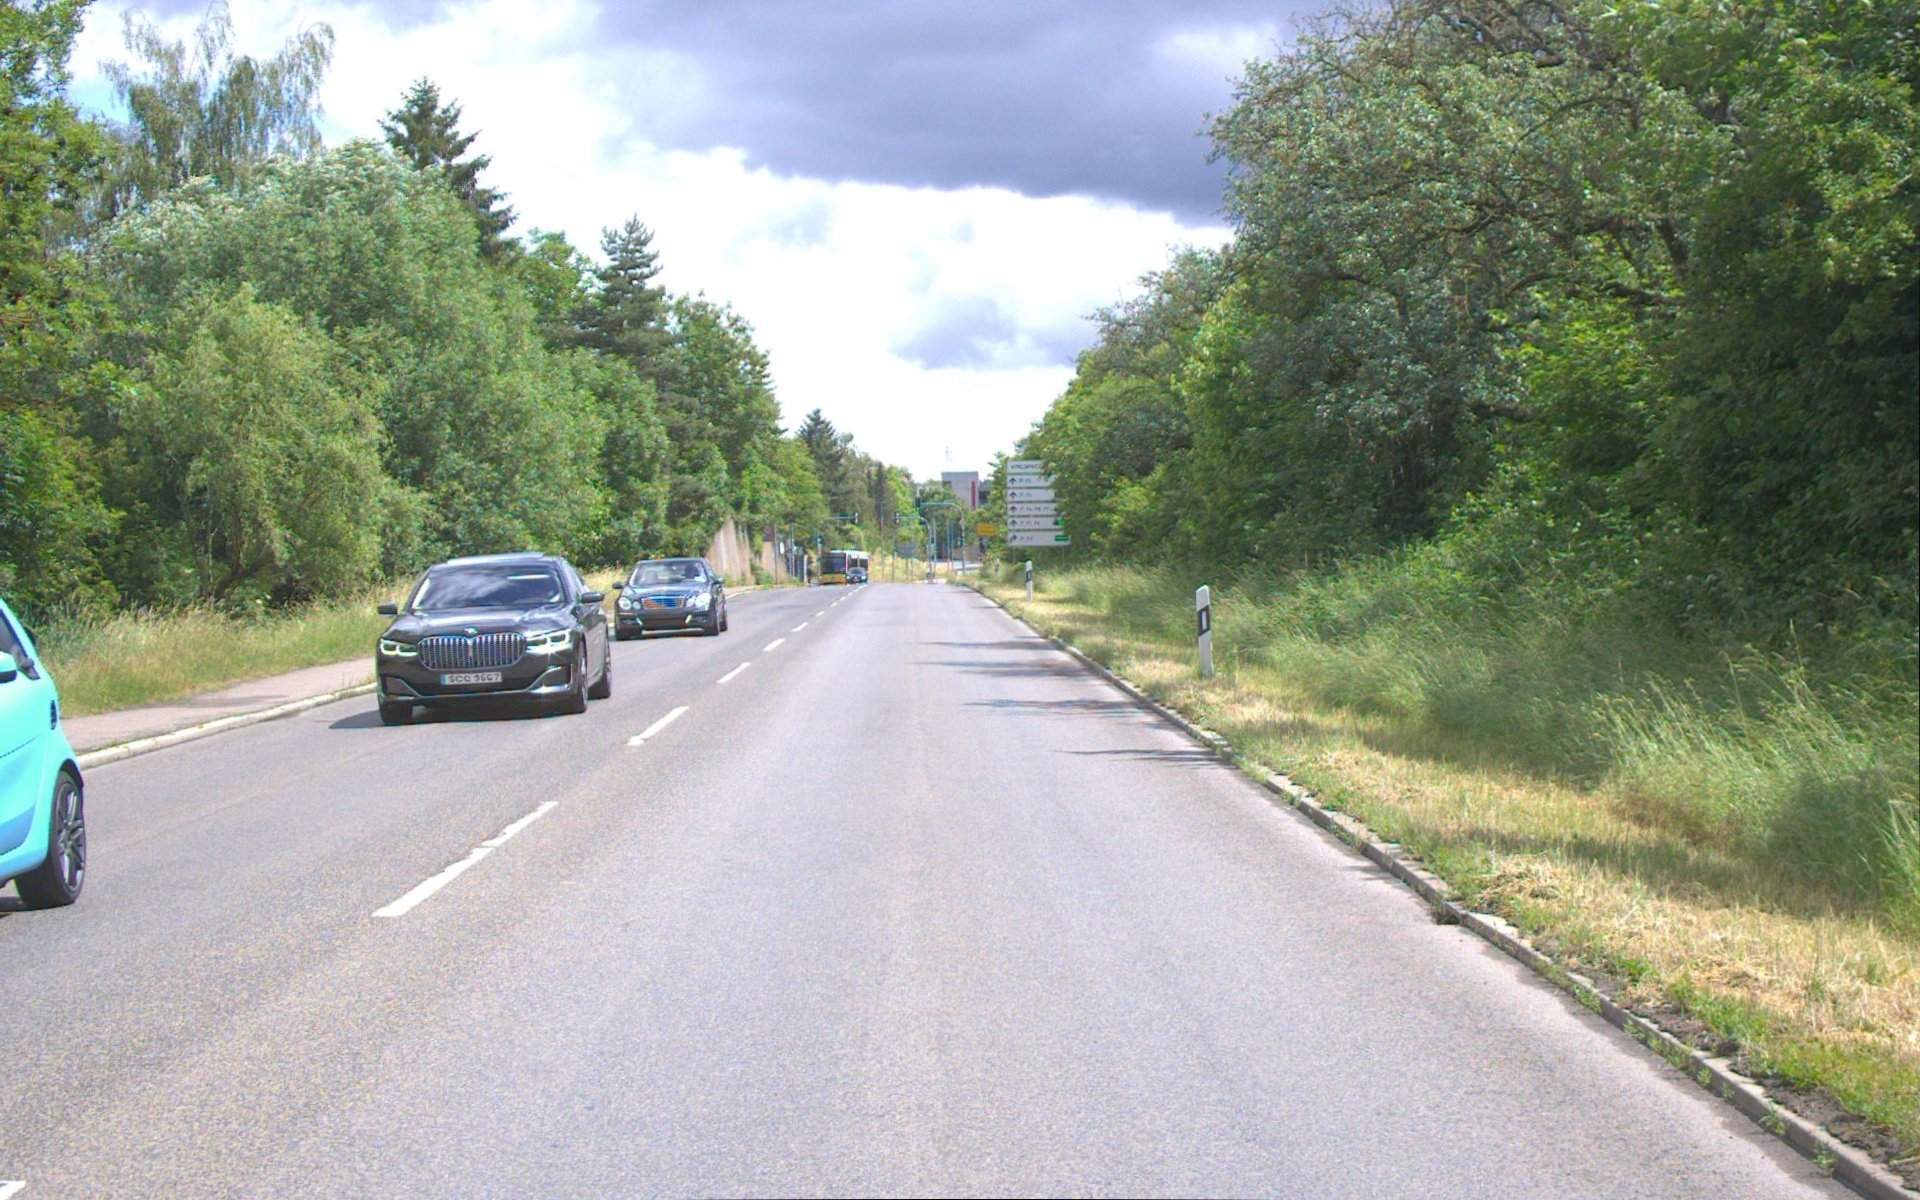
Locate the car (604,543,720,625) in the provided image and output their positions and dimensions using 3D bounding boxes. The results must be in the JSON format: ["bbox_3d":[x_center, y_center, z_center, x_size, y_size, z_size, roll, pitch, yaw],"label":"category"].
[{"bbox_3d":[-5.380,-0.324,62.531,1.784,1.329,4.623,-3,1,-2],"label":"car"}]

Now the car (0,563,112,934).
[{"bbox_3d":[-4.721,0.628,14.059,1.784,1.441,2.967,-3,1,-2],"label":"car"}]

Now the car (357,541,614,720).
[{"bbox_3d":[-4.457,0.231,32.937,1.884,1.486,4.718,-3,1,-2],"label":"car"}]
